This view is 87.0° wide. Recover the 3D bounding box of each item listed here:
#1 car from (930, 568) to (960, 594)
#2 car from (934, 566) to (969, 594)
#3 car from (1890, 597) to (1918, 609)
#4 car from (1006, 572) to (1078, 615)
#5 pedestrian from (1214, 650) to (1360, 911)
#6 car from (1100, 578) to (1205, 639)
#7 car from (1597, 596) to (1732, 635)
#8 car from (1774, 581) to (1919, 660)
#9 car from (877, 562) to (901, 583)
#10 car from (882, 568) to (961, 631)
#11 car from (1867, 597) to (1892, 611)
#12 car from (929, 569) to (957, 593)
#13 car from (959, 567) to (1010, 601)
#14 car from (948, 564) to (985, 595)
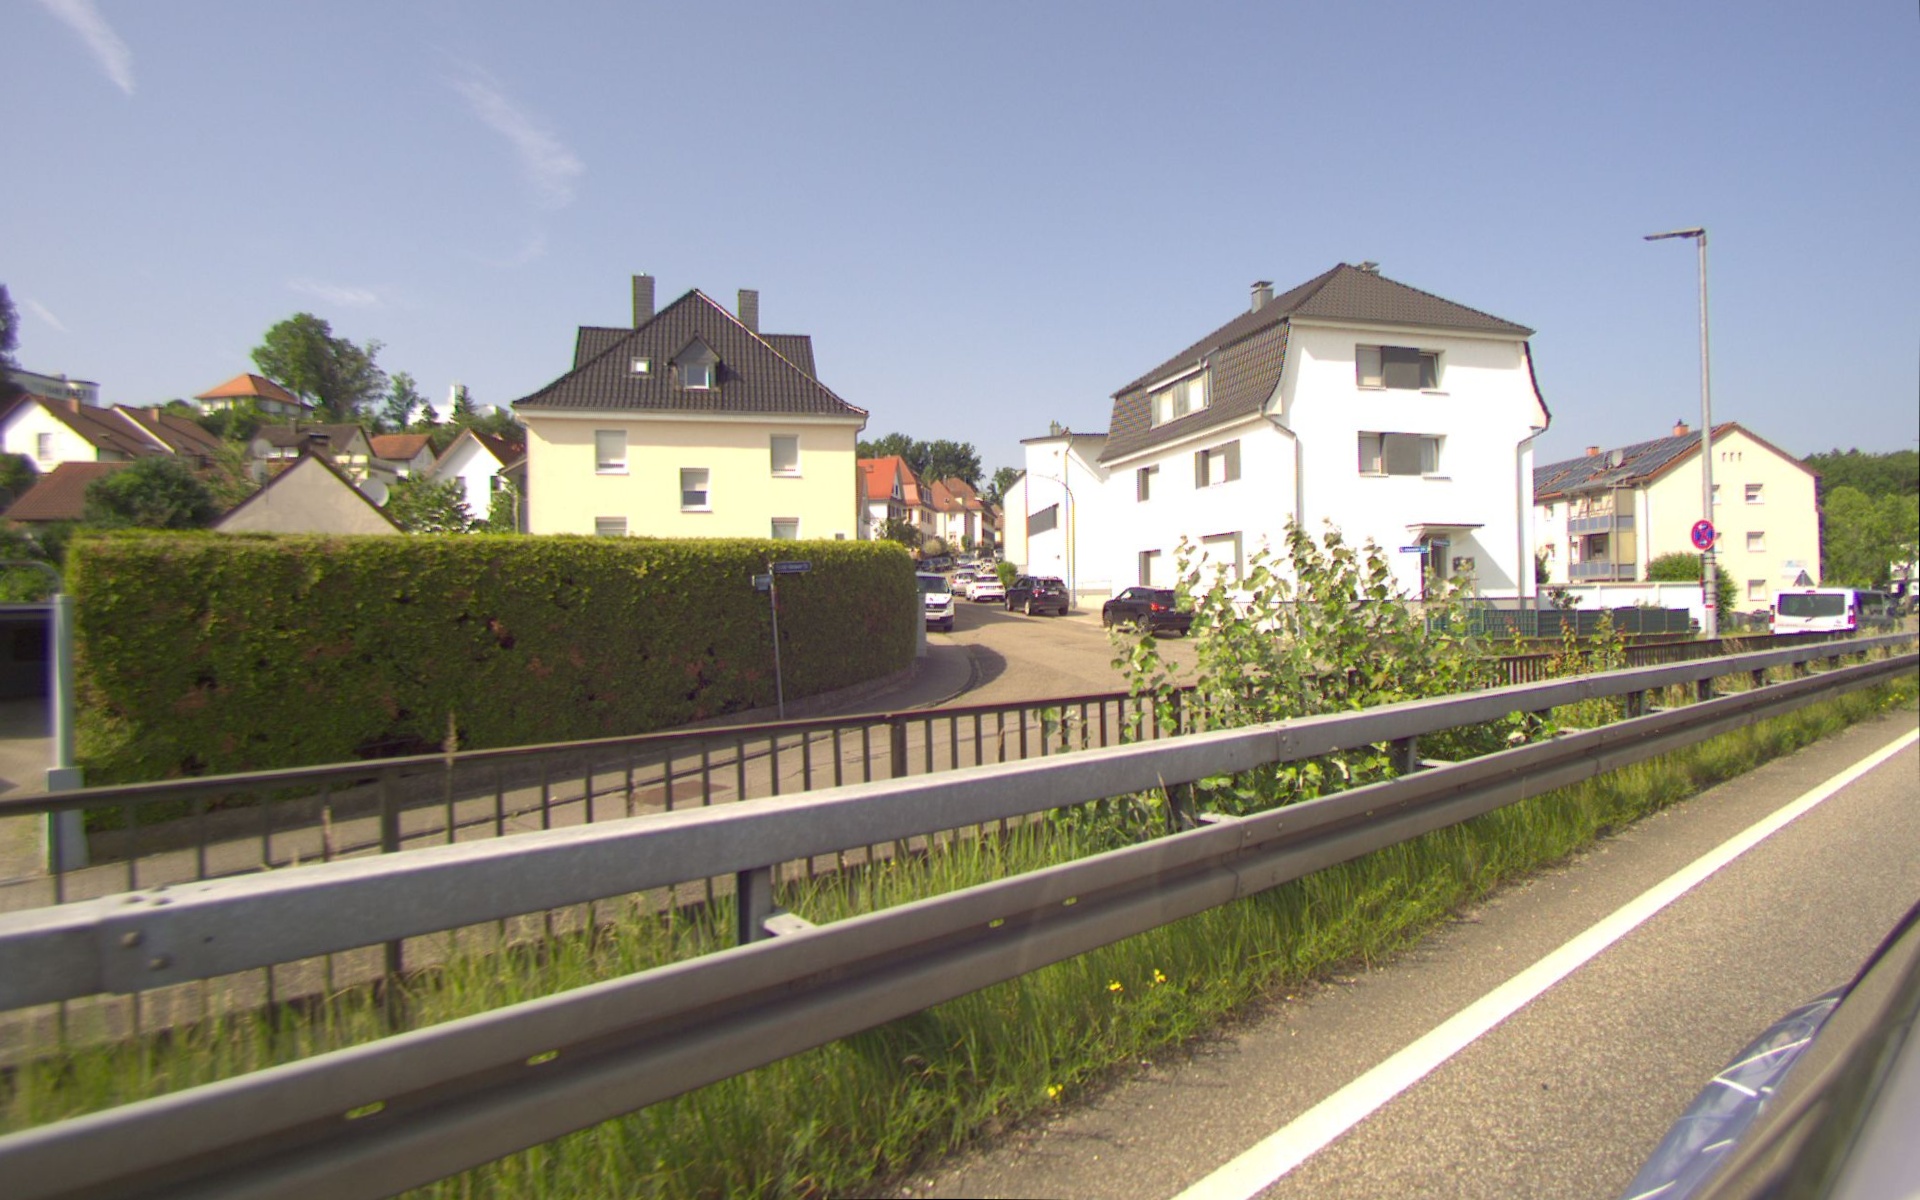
[{"bbox_3d":[-1.098,-1.362,70.771,1.921,1.684,4.005,0,3,-3],"label":"car"},{"bbox_3d":[-0.586,-1.300,65.495,1.921,1.684,4.006,0,3,-5],"label":"car"},{"bbox_3d":[101.805,0.327,109.166,1.583,1.201,3.619,0,1,33],"label":"car"},{"bbox_3d":[3.449,-0.327,43.199,1.958,1.684,4.010,0,3,-12],"label":"car"},{"bbox_3d":[2.837,1.487,8.794,0.978,2.039,0.790,0,0,-36],"label":"pedestrian"},{"bbox_3d":[6.294,0.221,33.626,1.959,1.683,4.010,-3,3,-12],"label":"car"},{"bbox_3d":[28.079,0.594,40.537,1.719,1.365,4.619,1,1,-9],"label":"car"},{"bbox_3d":[24.279,0.523,27.493,5.258,1.969,2.000,0,0,-35],"label":"car"},{"bbox_3d":[-5.891,-2.350,84.662,1.921,1.684,4.004,0,3,-3],"label":"car"},{"bbox_3d":[-1.467,-0.088,36.244,1.919,2.008,4.852,0,3,-14],"label":"car"},{"bbox_3d":[104.123,0.431,114.603,1.777,1.493,3.934,0,1,38],"label":"car"},{"bbox_3d":[-1.315,-1.420,75.517,1.921,1.684,4.004,0,3,-3],"label":"car"},{"bbox_3d":[1.235,-0.885,53.628,1.919,1.684,4.009,0,3,-10],"label":"car"},{"bbox_3d":[0.346,-1.249,59.894,1.921,1.684,4.004,0,3,-3],"label":"car"}]
